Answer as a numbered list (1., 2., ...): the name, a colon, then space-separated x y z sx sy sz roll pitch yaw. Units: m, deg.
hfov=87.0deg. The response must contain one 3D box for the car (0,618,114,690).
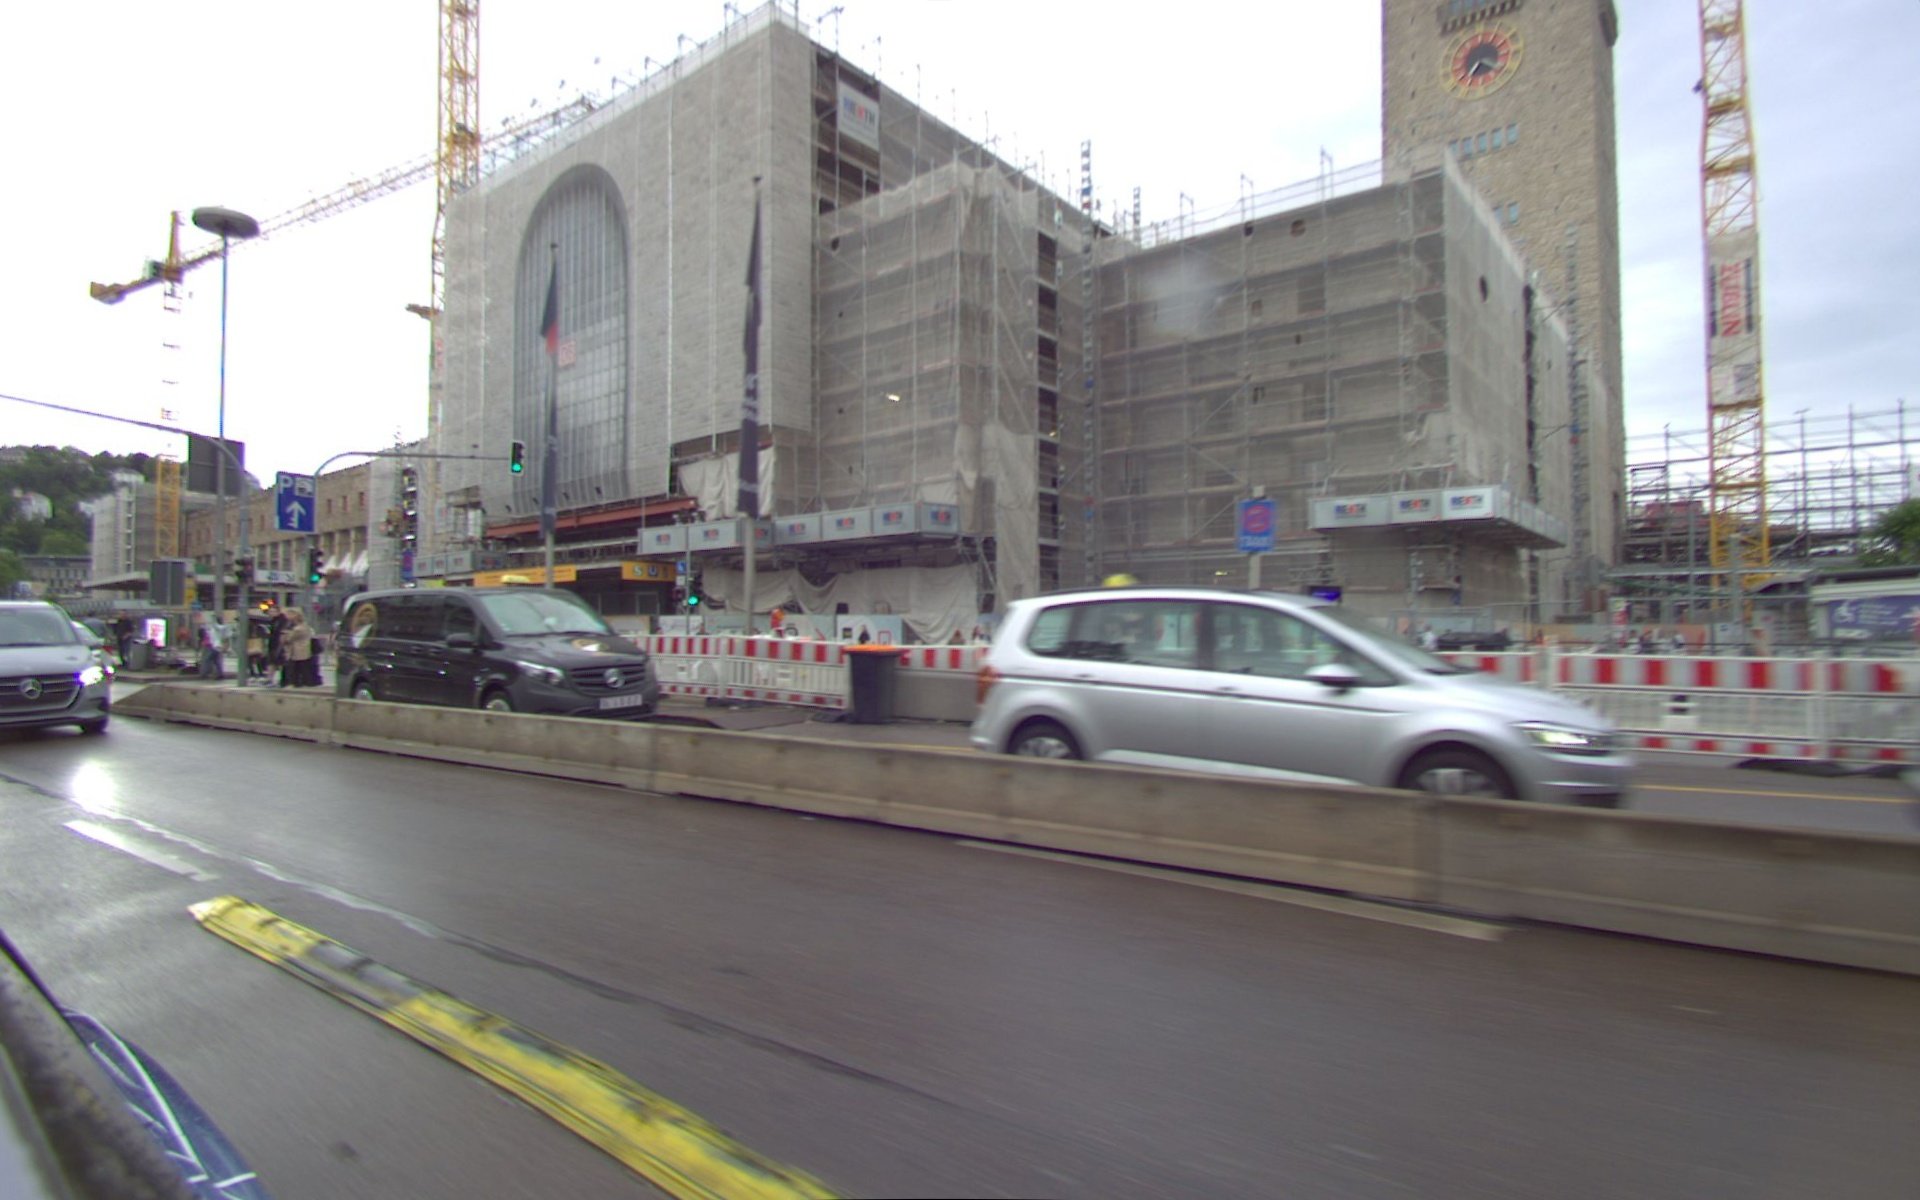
1. car: -23.484 1.342 26.007 4.661 1.698 1.769 -2 -3 39

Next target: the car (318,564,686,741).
1. car: -5.936 0.587 12.864 5.050 1.859 1.977 -1 -1 35

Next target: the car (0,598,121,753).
1. car: -13.897 0.992 14.332 5.242 1.919 1.975 -2 -1 37

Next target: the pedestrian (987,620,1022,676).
1. pedestrian: 1.525 1.627 34.581 0.822 1.896 1.031 2 -2 -21

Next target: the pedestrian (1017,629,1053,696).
1. pedestrian: 2.158 1.807 29.263 0.705 1.896 0.863 2 -2 -22

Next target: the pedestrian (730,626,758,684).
1. pedestrian: -6.920 1.754 32.462 0.527 1.855 0.691 -2 -3 36

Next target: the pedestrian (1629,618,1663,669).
1. pedestrian: 25.746 1.619 37.989 0.648 1.896 0.807 2 -2 -22

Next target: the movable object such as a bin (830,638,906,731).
1. movable object such as a bin: -1.235 1.115 13.611 0.764 1.170 0.665 -1 0 32

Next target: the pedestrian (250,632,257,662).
1. pedestrian: -43.849 2.912 62.817 0.334 1.855 0.510 1 -2 -36

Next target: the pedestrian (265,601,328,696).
1. pedestrian: -13.725 0.998 20.921 1.027 1.896 0.825 -2 -3 40

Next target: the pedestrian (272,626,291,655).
1. pedestrian: -45.317 2.696 67.560 1.058 1.855 0.830 -2 -2 42

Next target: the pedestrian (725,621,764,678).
1. pedestrian: -7.160 1.627 33.577 0.970 1.855 1.044 1 -2 -31

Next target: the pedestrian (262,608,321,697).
1. pedestrian: -14.688 1.133 22.256 0.990 1.901 0.819 1 -2 -29

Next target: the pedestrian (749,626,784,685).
1. pedestrian: -6.171 1.755 32.254 0.876 1.855 0.691 -1 -1 37

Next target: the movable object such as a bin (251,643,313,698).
1. movable object such as a bin: -13.997 1.440 20.910 0.990 1.084 0.751 1 -2 -29

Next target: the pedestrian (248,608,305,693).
1. pedestrian: -15.597 1.147 23.106 0.688 1.901 0.824 -1 -2 28

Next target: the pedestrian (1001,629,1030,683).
1. pedestrian: 1.743 1.754 31.866 0.824 1.676 1.028 1 -2 0

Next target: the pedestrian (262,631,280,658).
1. pedestrian: -47.786 3.073 70.190 0.850 1.855 0.794 -2 -2 42

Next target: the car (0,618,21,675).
1. car: -32.769 1.515 33.276 4.840 1.800 1.975 -2 -3 38

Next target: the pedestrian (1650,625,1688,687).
1. pedestrian: 21.833 1.724 31.177 0.629 1.896 0.735 2 -2 -22

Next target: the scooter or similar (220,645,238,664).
1. scooter or similar: -44.119 3.277 61.075 0.452 1.074 1.243 0 -2 -16

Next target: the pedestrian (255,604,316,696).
1. pedestrian: -14.354 1.056 21.569 0.990 1.901 0.685 1 -2 -29

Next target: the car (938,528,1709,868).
1. car: 2.294 0.528 7.197 4.762 1.709 1.808 -1 -1 35

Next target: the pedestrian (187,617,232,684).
1. pedestrian: -19.092 1.273 25.748 0.835 1.677 0.706 -2 -3 38

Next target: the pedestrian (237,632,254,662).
1. pedestrian: -44.643 2.920 63.218 0.692 1.855 0.881 0 -2 -22

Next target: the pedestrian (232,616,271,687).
1. pedestrian: -17.816 1.291 25.454 0.755 1.748 0.577 -2 -3 38

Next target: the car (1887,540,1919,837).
1. car: 6.623 0.426 3.722 4.479 1.522 1.808 -1 -1 35

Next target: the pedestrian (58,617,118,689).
1. pedestrian: -24.909 1.505 28.920 0.824 2.029 1.028 0 -2 -3

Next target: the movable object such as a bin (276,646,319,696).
1. movable object such as a bin: -14.860 1.571 22.711 0.732 1.084 0.751 1 -2 -29

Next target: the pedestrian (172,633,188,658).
1. pedestrian: -63.087 3.689 81.851 0.863 1.954 0.736 -2 0 35
